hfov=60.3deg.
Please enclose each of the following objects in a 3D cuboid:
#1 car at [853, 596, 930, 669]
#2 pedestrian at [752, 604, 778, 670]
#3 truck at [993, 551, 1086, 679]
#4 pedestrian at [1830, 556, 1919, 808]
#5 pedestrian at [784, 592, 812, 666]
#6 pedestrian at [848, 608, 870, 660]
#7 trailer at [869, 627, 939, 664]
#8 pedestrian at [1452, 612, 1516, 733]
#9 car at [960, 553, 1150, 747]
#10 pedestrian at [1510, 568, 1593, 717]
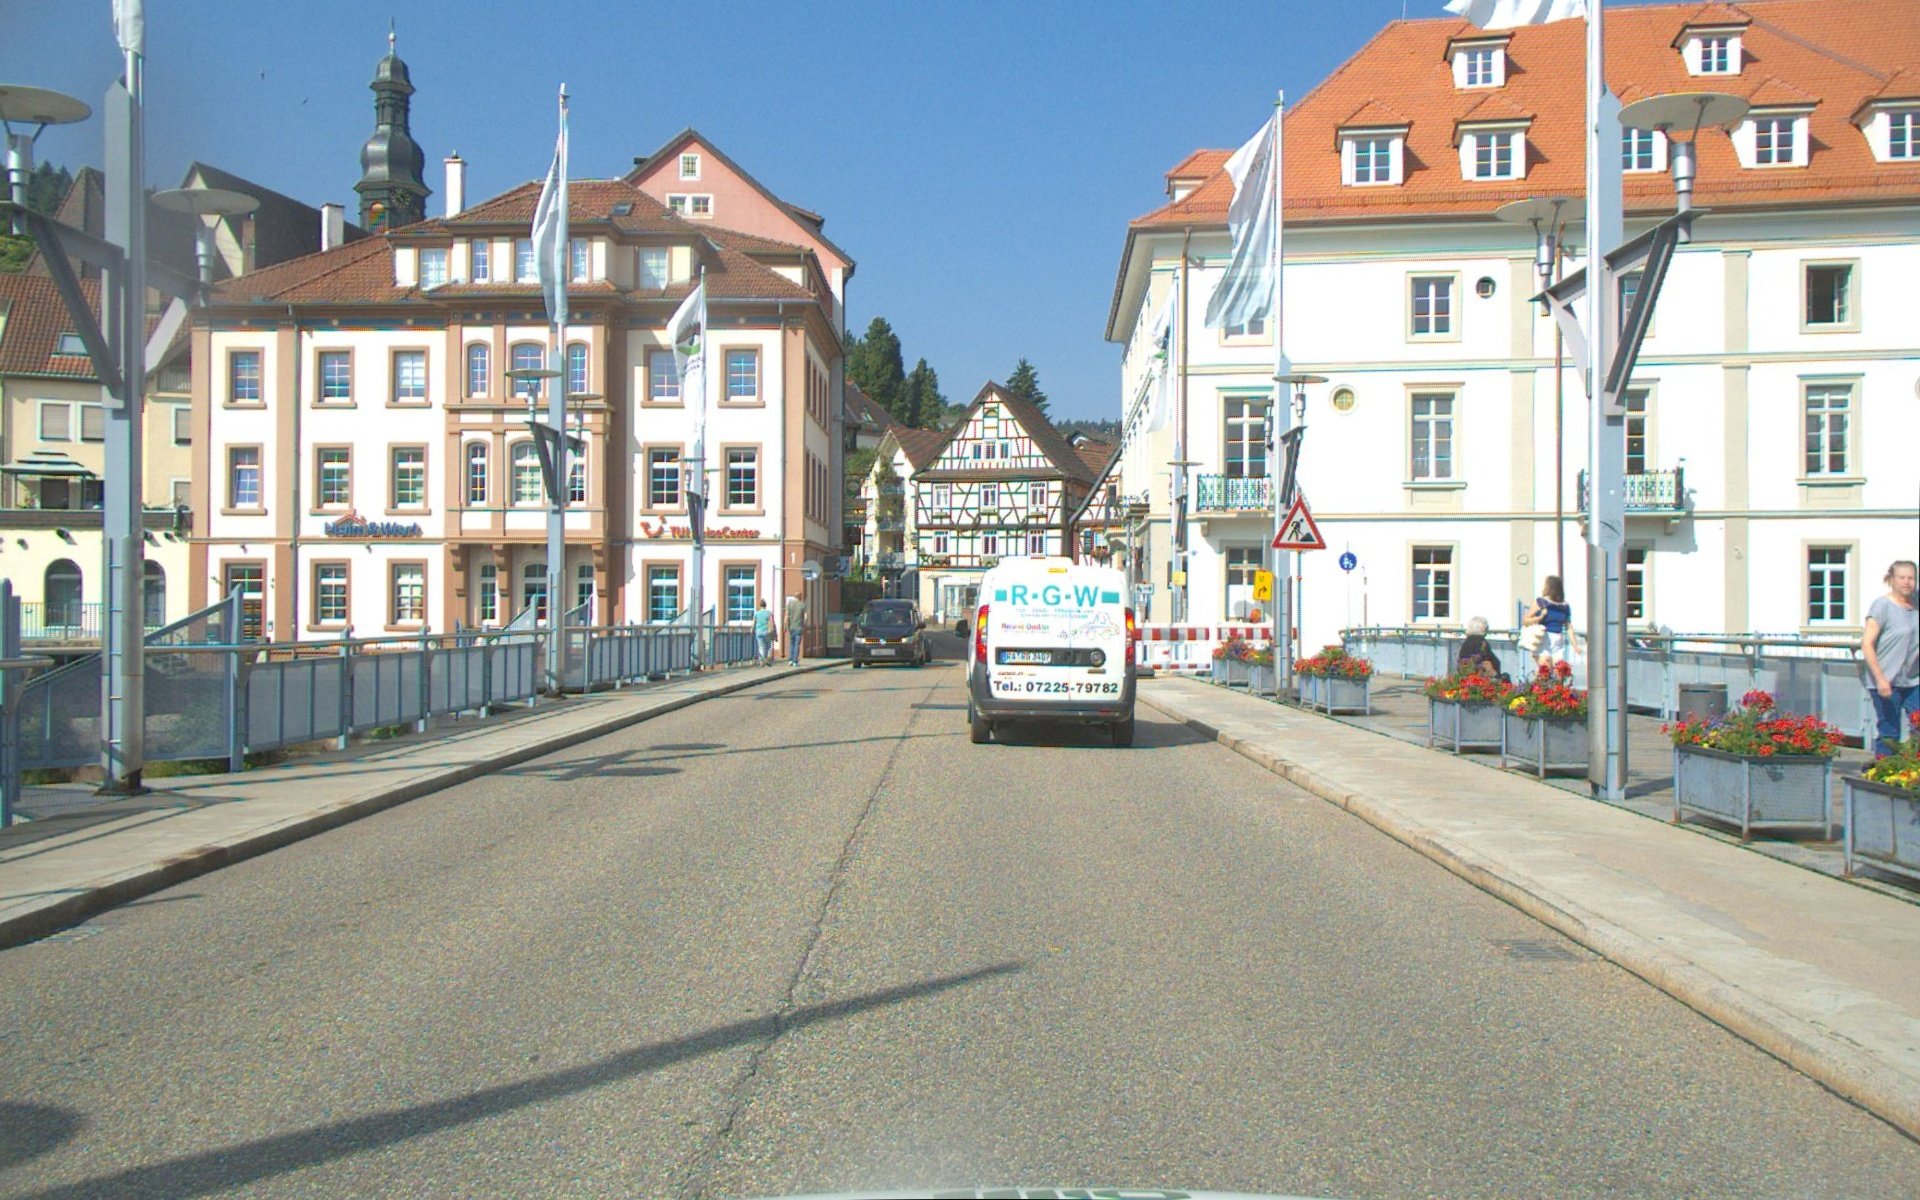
[{"bbox_3d":[-1.801,0.820,44.704,1.740,1.824,4.698,1,0,1],"label":"car"},{"bbox_3d":[-4.862,0.919,41.239,0.572,1.638,0.537,1,0,-1],"label":"pedestrian"},{"bbox_3d":[1.690,0.321,36.554,1.823,2.630,4.260,1,0,0],"label":"truck"},{"bbox_3d":[6.338,0.539,11.140,0.652,1.646,0.563,1,0,1],"label":"pedestrian"},{"bbox_3d":[-4.005,0.716,40.965,0.602,1.793,0.863,1,0,-1],"label":"pedestrian"},{"bbox_3d":[-3.714,1.241,61.054,0.787,1.890,0.616,0,0,-1],"label":"pedestrian"},{"bbox_3d":[-1.628,1.342,49.148,1.714,1.040,4.187,-1,-1,3],"label":"trailer"},{"bbox_3d":[5.625,0.768,17.779,0.443,1.266,0.625,0,-1,-5],"label":"pedestrian"},{"bbox_3d":[0.961,0.523,18.834,1.807,1.939,4.313,1,-1,-1],"label":"car"},{"bbox_3d":[7.103,0.500,19.882,0.711,1.753,0.747,1,0,0],"label":"pedestrian"}]
